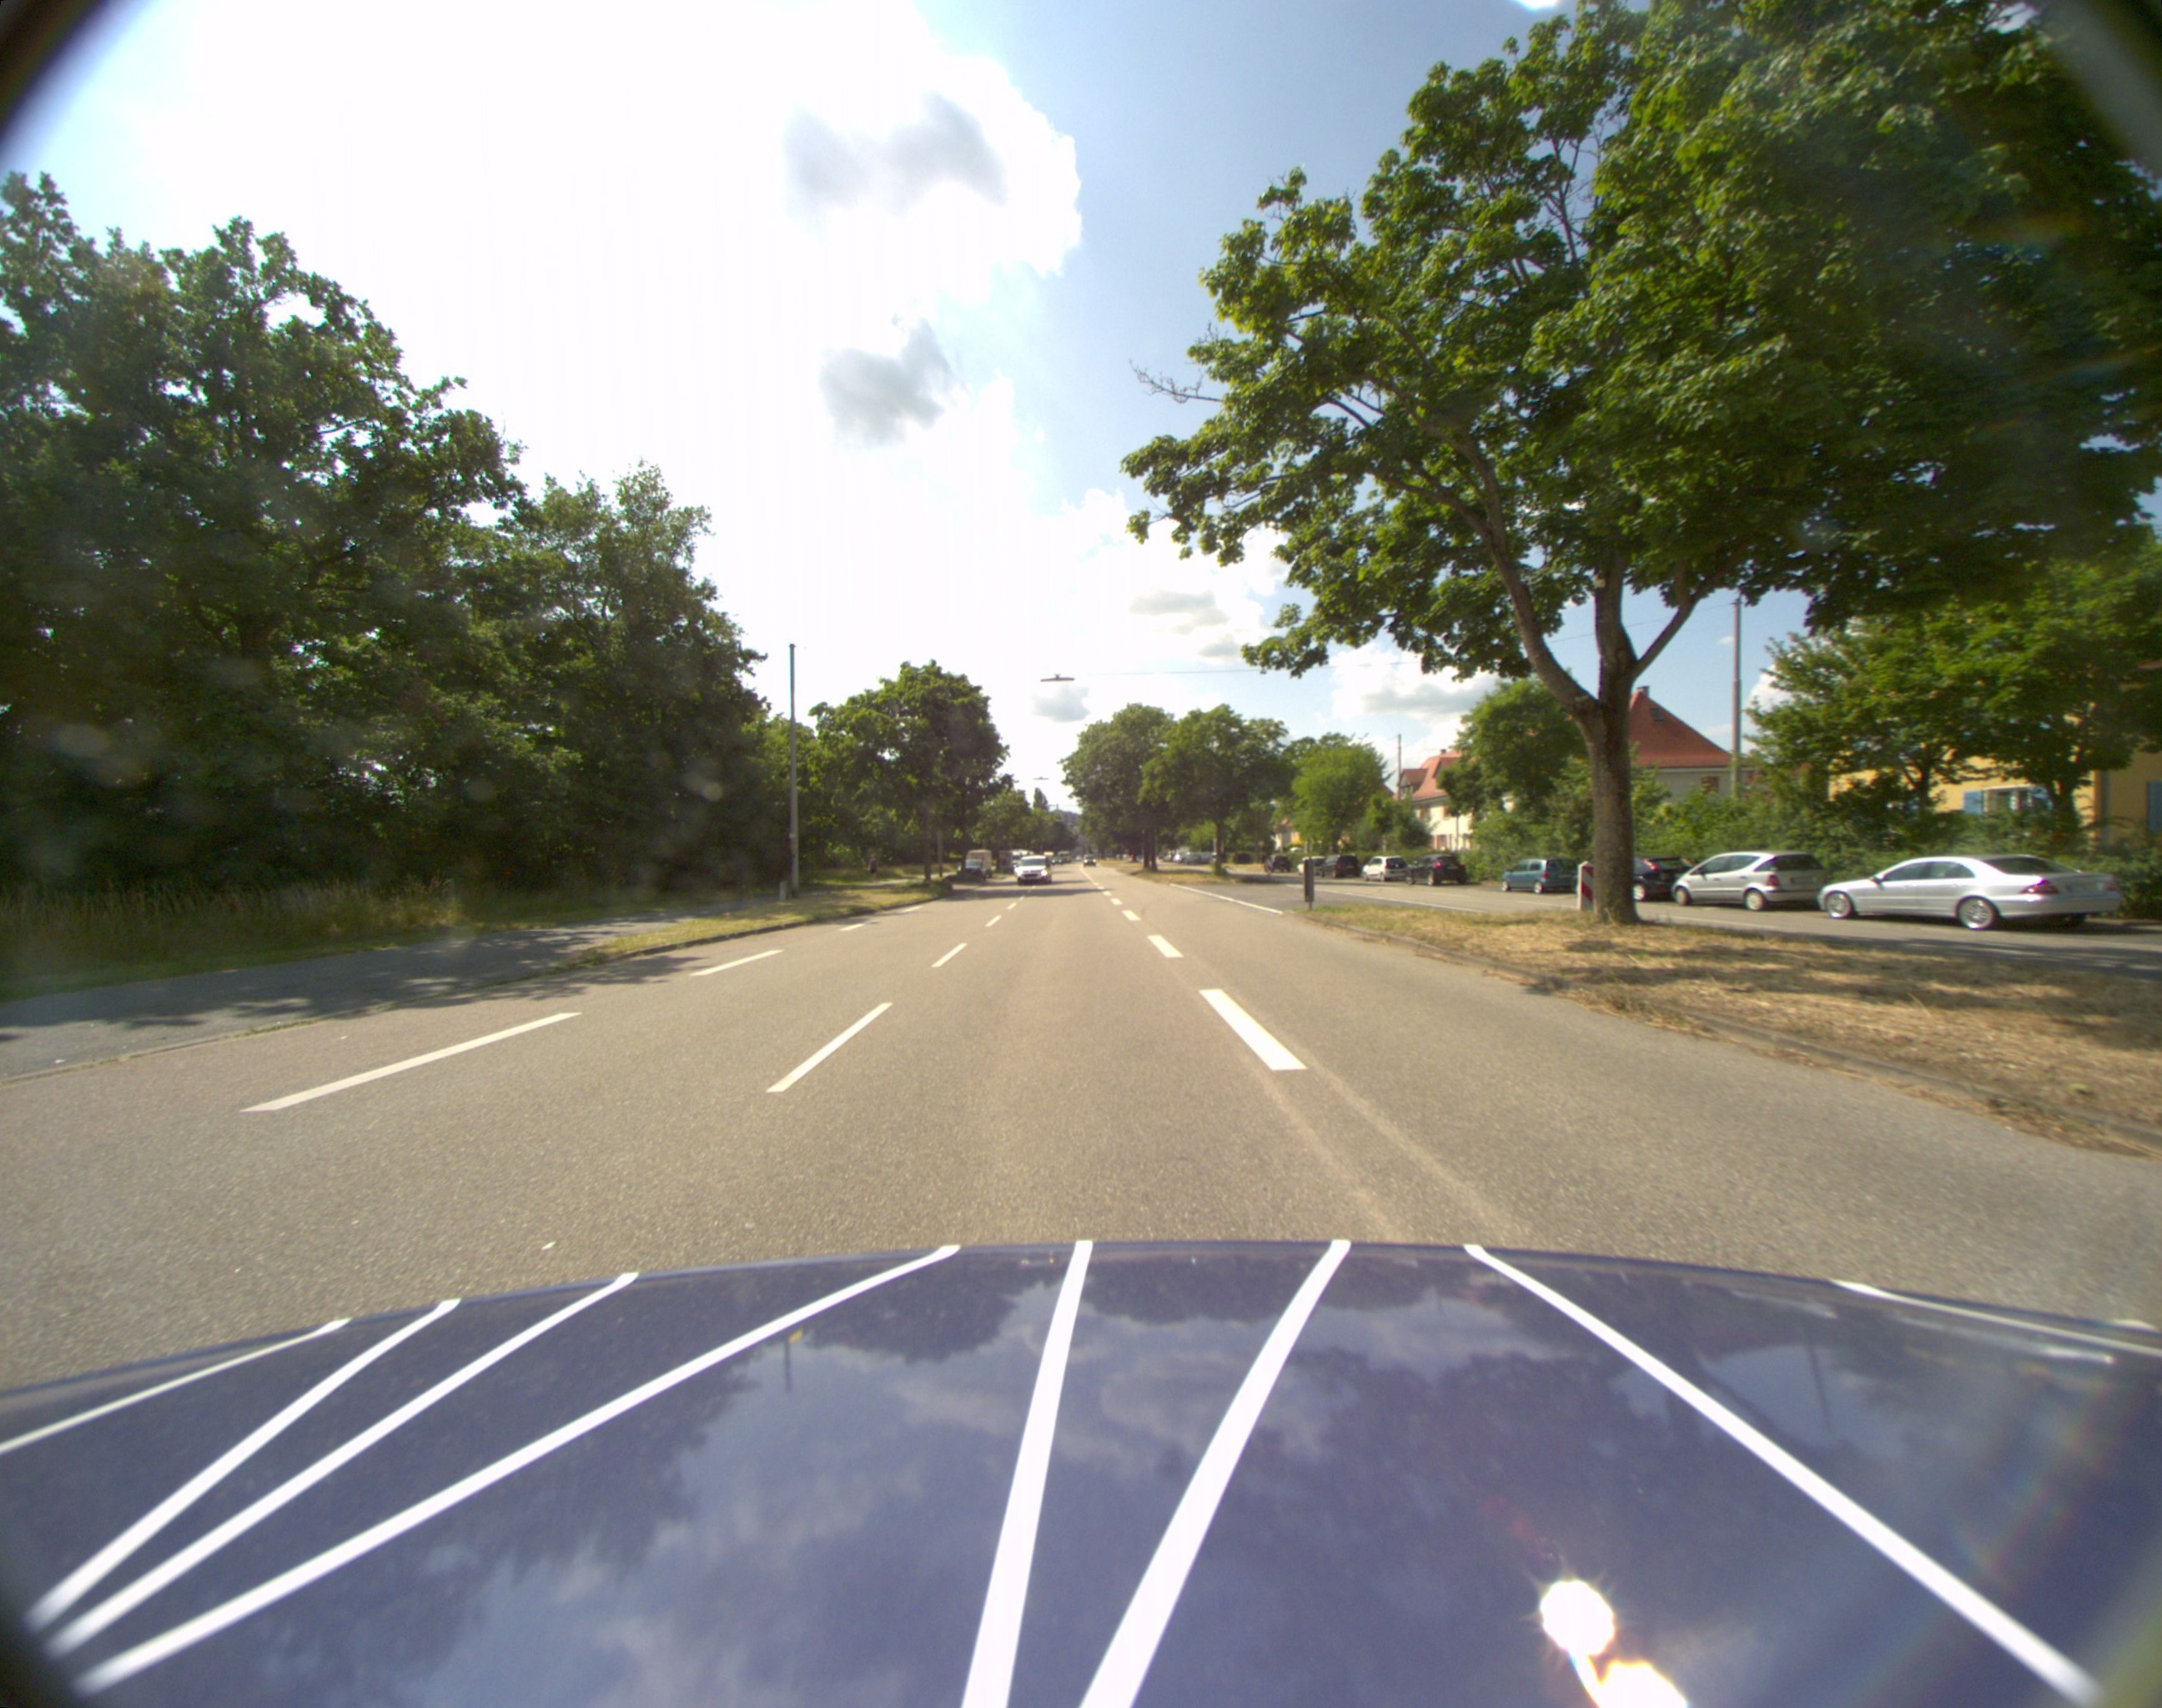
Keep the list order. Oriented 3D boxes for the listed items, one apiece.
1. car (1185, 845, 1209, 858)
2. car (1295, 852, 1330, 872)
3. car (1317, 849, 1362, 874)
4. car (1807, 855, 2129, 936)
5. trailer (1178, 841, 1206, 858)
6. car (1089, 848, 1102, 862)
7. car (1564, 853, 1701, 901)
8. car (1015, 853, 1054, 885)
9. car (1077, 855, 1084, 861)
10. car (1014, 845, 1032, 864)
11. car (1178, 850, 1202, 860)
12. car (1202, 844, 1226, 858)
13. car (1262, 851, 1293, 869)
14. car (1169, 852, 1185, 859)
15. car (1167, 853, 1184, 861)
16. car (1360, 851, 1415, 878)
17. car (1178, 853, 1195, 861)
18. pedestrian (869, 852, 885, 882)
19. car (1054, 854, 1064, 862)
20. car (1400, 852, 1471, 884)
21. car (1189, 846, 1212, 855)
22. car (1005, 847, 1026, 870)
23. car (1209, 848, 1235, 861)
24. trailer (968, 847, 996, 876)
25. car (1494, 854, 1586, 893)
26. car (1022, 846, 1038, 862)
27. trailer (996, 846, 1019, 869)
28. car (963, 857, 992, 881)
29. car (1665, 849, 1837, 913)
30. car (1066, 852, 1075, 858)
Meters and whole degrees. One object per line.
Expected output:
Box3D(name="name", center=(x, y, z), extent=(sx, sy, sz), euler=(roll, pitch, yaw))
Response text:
Box3D(name="car", center=(20.176, -0.414, 132.008), extent=(4.007, 2.002, 1.800), euler=(-4, 1, -43))
Box3D(name="car", center=(18.375, 0.622, 60.364), extent=(1.598, 1.452, 3.534), euler=(-3, 1, -1))
Box3D(name="car", center=(18.284, 0.511, 53.933), extent=(1.664, 1.603, 4.313), euler=(-3, 1, -1))
Box3D(name="car", center=(18.100, 0.750, 15.926), extent=(1.514, 1.362, 4.531), euler=(-3, 0, 2))
Box3D(name="trailer", center=(21.865, -0.874, 148.949), extent=(2.820, 3.090, 5.764), euler=(-3, 0, 38))
Box3D(name="car", center=(2.091, 0.066, 112.028), extent=(1.768, 1.893, 4.541), euler=(-3, 1, 2))
Box3D(name="car", center=(18.331, 0.710, 25.525), extent=(1.406, 1.387, 4.356), euler=(-3, 0, 0))
Box3D(name="car", center=(-2.809, 0.876, 46.992), extent=(1.935, 1.774, 4.716), euler=(-3, 0, 1))
Box3D(name="car", center=(-0.226, 1.050, 204.508), extent=(1.798, 1.501, 4.000), euler=(-1, 0, 1))
Box3D(name="car", center=(-8.710, 0.044, 114.078), extent=(2.262, 2.787, 6.766), euler=(1, 1, -1))
Box3D(name="car", center=(19.661, 0.159, 136.936), extent=(3.997, 1.502, 1.800), euler=(-3, 1, 1))
Box3D(name="car", center=(21.532, -0.472, 123.066), extent=(4.007, 2.002, 1.800), euler=(-4, 1, -43))
Box3D(name="car", center=(18.315, 0.523, 70.989), extent=(1.772, 1.543, 3.999), euler=(-3, 1, -1))
Box3D(name="car", center=(21.164, 0.293, 167.739), extent=(1.668, 1.341, 3.827), euler=(-2, 1, 42))
Box3D(name="car", center=(20.251, 0.700, 162.080), extent=(1.668, 1.456, 3.827), euler=(-2, 1, 42))
Box3D(name="car", center=(18.600, 0.610, 46.287), extent=(1.664, 1.443, 3.846), euler=(-3, 1, -1))
Box3D(name="car", center=(22.134, 0.636, 159.382), extent=(1.668, 1.456, 3.827), euler=(-2, 1, 42))
Box3D(name="pedestrian", center=(-12.755, 0.795, 47.452), extent=(0.719, 1.783, 0.740), euler=(-3, 1, -1))
Box3D(name="car", center=(-4.108, 0.696, 142.801), extent=(1.892, 1.281, 3.999), euler=(-3, 1, -1))
Box3D(name="car", center=(18.287, 0.687, 39.432), extent=(1.664, 1.472, 4.103), euler=(-3, 0, -1))
Box3D(name="car", center=(20.423, -0.608, 129.612), extent=(4.007, 1.390, 1.569), euler=(-4, 1, -43))
Box3D(name="car", center=(-8.539, 0.539, 99.035), extent=(2.181, 2.680, 6.150), euler=(-3, 1, -1))
Box3D(name="car", center=(21.116, 0.020, 113.661), extent=(4.008, 1.849, 1.800), euler=(-2, 0, -43))
Box3D(name="trailer", center=(-8.299, 0.625, 64.046), extent=(1.958, 2.338, 4.604), euler=(0, 1, -2))
Box3D(name="car", center=(18.458, 0.737, 30.743), extent=(1.566, 1.387, 3.476), euler=(-3, 1, 0))
Box3D(name="car", center=(-8.511, -0.033, 126.564), extent=(2.262, 2.526, 6.766), euler=(1, 1, -1))
Box3D(name="trailer", center=(-8.176, 0.396, 84.869), extent=(1.999, 2.352, 4.781), euler=(3, 1, 0))
Box3D(name="car", center=(-7.836, 1.125, 57.661), extent=(1.595, 1.681, 4.361), euler=(0, 1, 0))
Box3D(name="car", center=(18.321, 0.665, 21.021), extent=(1.406, 1.548, 3.742), euler=(-3, 0, 0))
Box3D(name="car", center=(-2.353, 0.231, 164.012), extent=(1.892, 1.281, 3.999), euler=(-3, 1, -1))
